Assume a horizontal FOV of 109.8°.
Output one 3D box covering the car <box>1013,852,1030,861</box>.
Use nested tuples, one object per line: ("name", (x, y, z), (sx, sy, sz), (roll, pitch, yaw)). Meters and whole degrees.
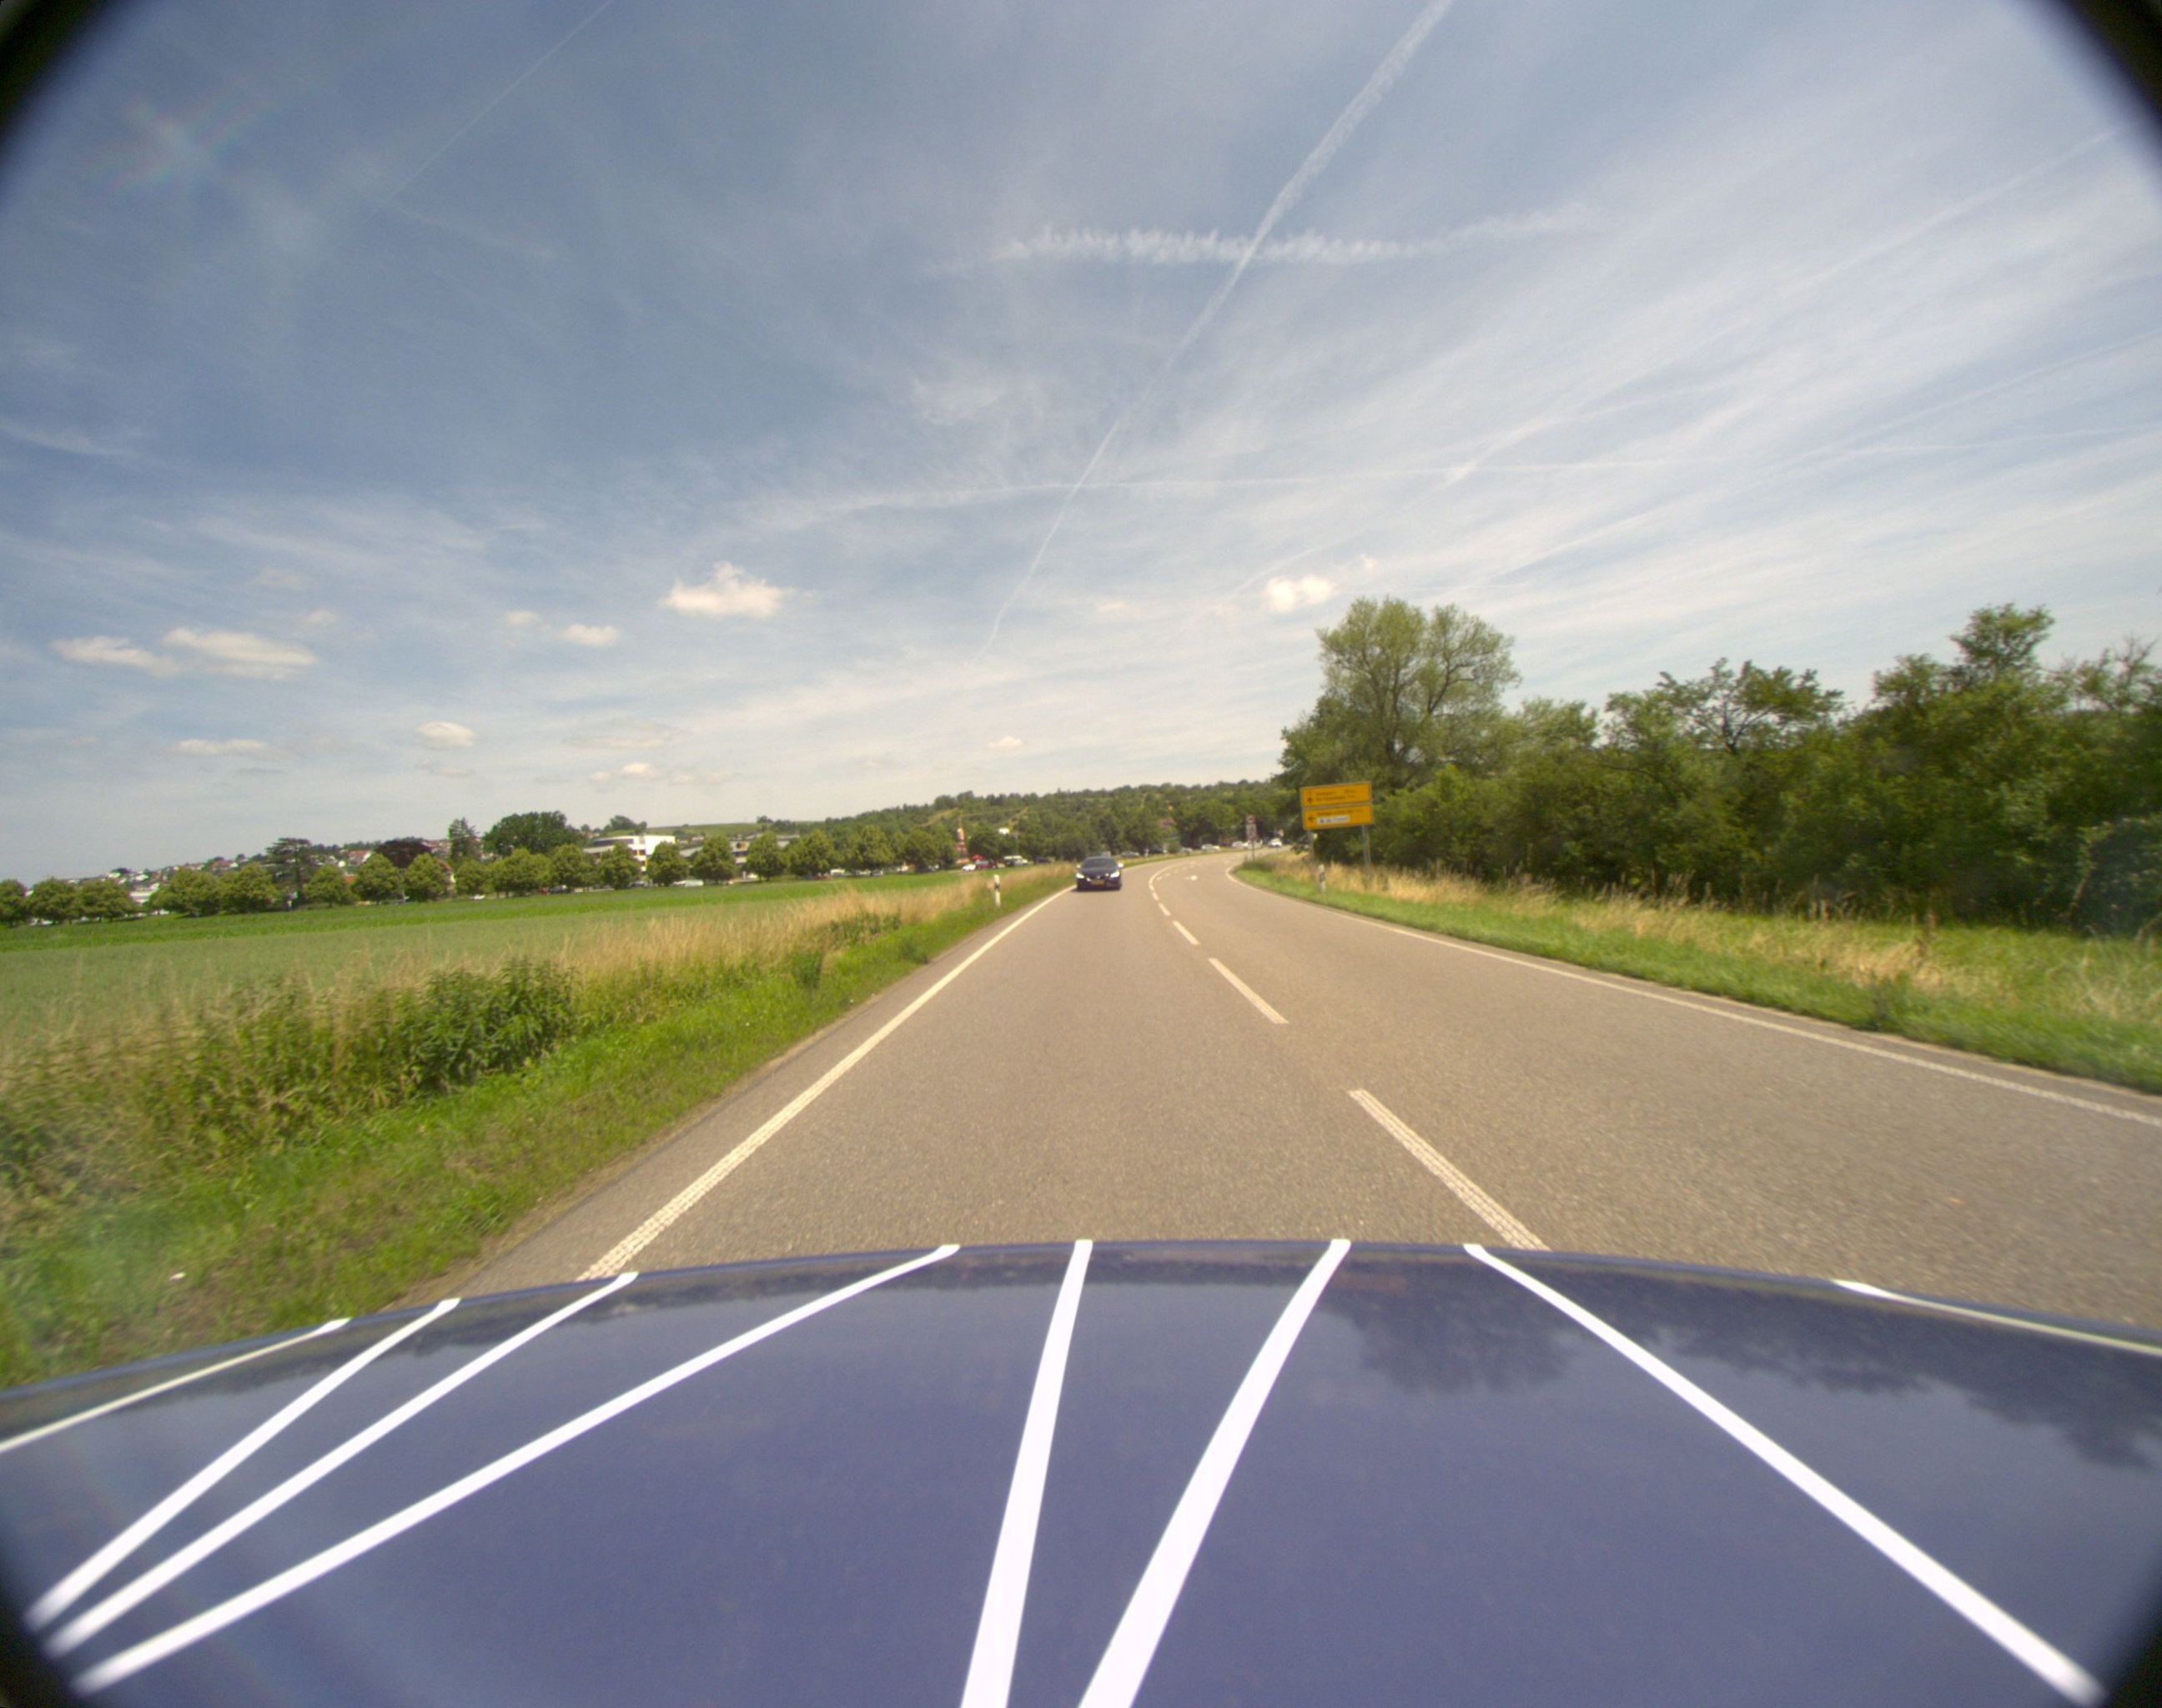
("car", (-14.199, 0.657, 181.961), (3.998, 2.002, 1.887), (-2, 1, -3))

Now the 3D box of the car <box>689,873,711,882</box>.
("car", (-95.091, 5.887, 189.541), (4.468, 2.002, 1.887), (-2, 1, -1))

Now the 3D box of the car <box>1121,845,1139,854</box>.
("car", (11.622, -1.145, 179.481), (3.995, 2.002, 1.888), (-2, 1, 7))

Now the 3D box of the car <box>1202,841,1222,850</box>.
("car", (29.856, -1.976, 173.193), (3.990, 2.002, 1.891), (-2, 1, 29))

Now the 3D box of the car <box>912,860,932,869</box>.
("car", (-38.223, 2.521, 182.783), (4.469, 2.002, 1.887), (-2, 1, -3))

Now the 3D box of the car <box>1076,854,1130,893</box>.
("car", (1.012, 0.786, 32.585), (1.784, 1.440, 4.606), (-2, 0, 7))

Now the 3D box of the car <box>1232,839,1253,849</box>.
("car", (36.073, -2.237, 169.769), (3.990, 2.002, 1.891), (-2, 1, 29))

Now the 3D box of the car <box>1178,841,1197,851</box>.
("car", (24.715, -1.818, 175.953), (3.990, 2.002, 1.891), (-2, 1, 26))

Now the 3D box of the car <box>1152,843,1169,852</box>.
("car", (18.671, -1.547, 178.639), (3.995, 2.002, 1.888), (-2, 1, 7))

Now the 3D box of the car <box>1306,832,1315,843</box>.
("car", (48.601, -3.544, 161.009), (1.884, 2.001, 4.006), (-2, -2, 16))

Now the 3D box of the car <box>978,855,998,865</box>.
("car", (-22.238, 1.401, 181.855), (4.469, 2.002, 1.887), (-2, 1, -5))
